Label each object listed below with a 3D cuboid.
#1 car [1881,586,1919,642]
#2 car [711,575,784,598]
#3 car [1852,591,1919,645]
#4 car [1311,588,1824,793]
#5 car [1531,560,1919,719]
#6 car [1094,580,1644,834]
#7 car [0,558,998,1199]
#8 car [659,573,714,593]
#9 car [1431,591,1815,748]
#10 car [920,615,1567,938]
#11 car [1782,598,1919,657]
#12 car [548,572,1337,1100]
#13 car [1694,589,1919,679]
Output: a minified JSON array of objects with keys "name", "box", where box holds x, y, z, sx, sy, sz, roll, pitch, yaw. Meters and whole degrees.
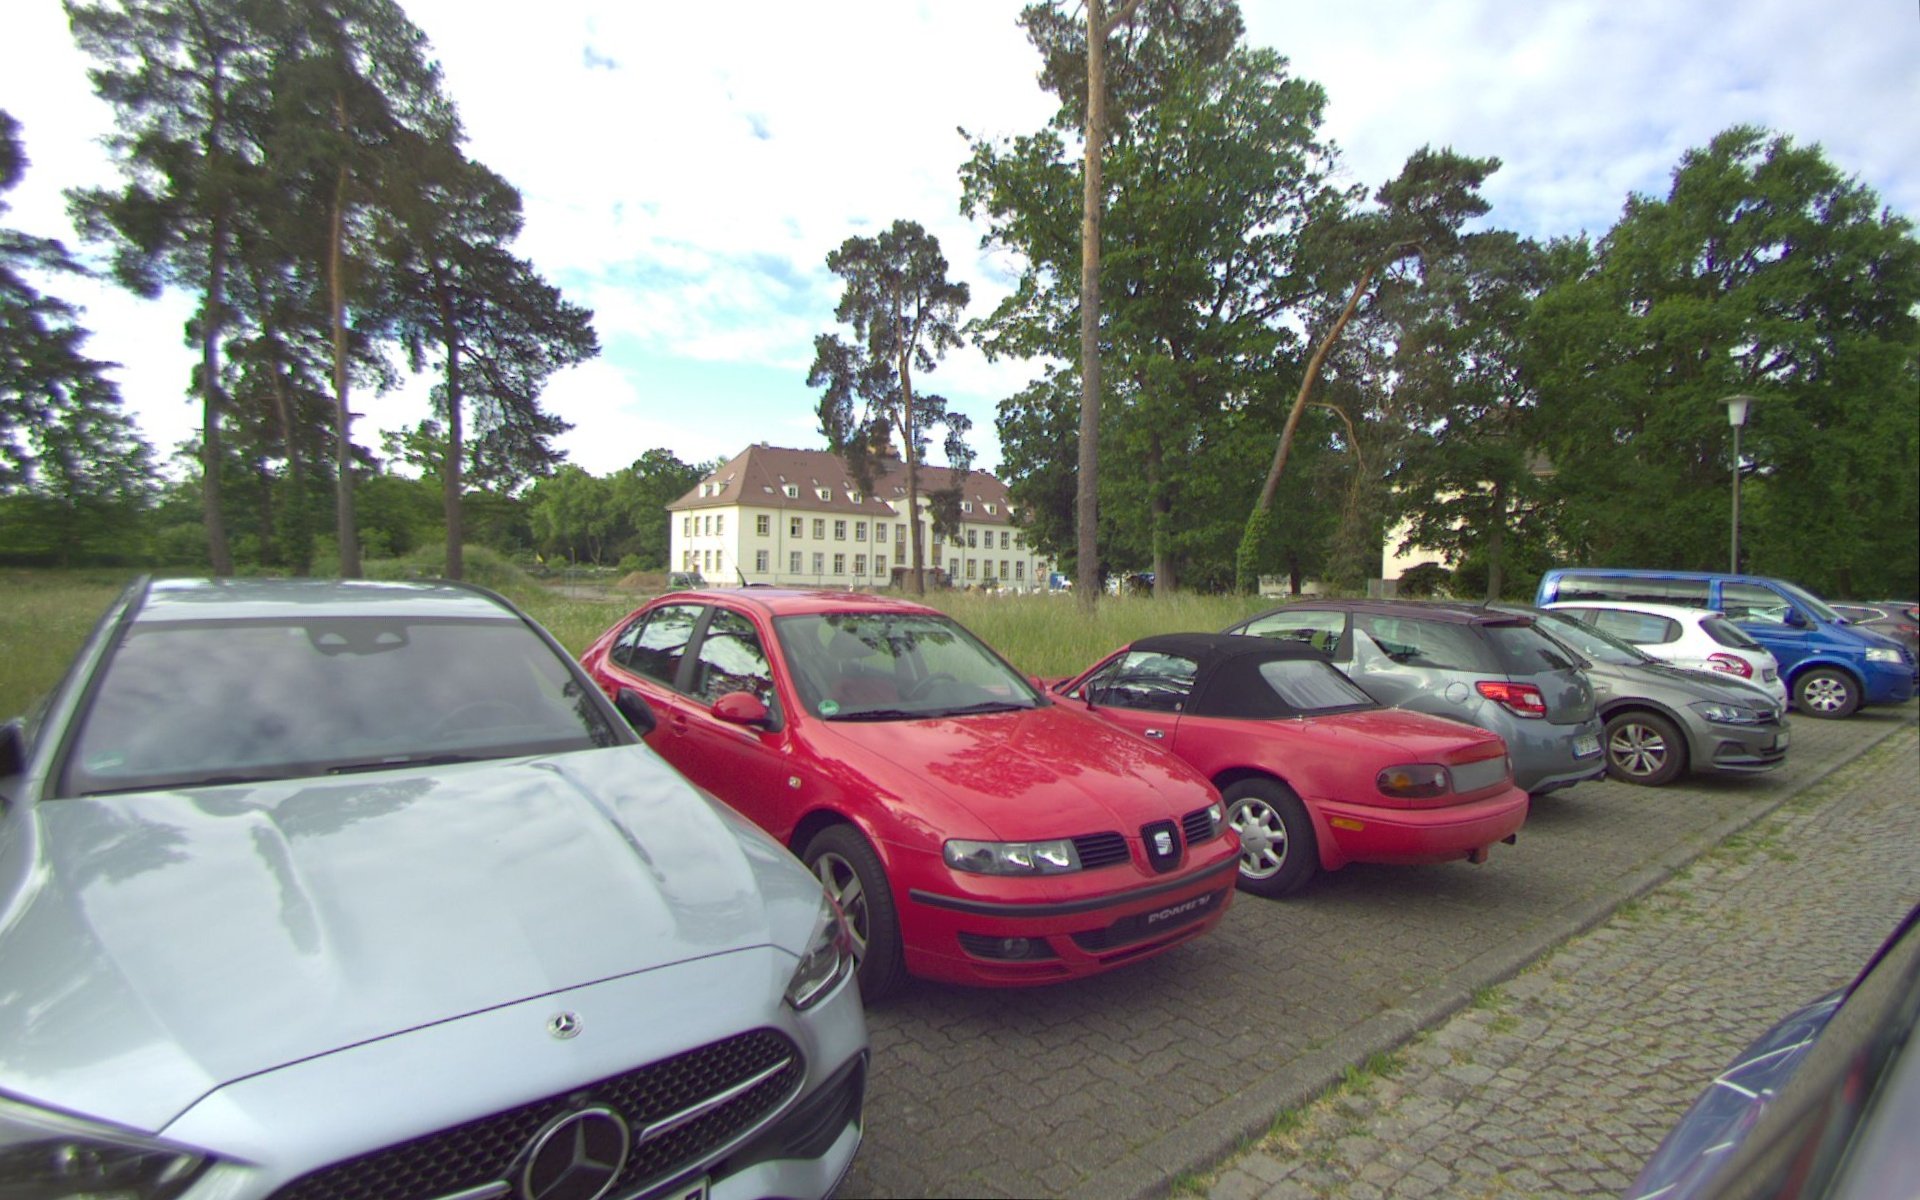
[{"name":"car","box":[36.697,0.549,37.164,1.964,2.039,3.997,1,1,-39]},{"name":"car","box":[-13.661,-0.879,65.144,4.180,1.433,1.887,0,2,-39]},{"name":"car","box":[33.286,0.632,34.507,1.964,1.784,4.007,1,1,-39]},{"name":"car","box":[5.613,0.675,9.762,1.787,1.474,3.850,1,1,-38]},{"name":"car","box":[11.579,0.443,15.264,1.965,1.963,4.747,0,2,-41]},{"name":"car","box":[3.137,0.637,8.298,1.768,1.524,3.782,0,1,-42]},{"name":"car","box":[-2.132,0.631,3.544,1.780,1.501,4.767,0,1,-40]},{"name":"car","box":[-27.556,-1.718,101.781,6.171,1.882,2.304,2,2,41]},{"name":"car","box":[7.554,0.673,11.764,1.608,1.470,3.408,1,1,-39]},{"name":"car","box":[1.435,0.779,6.170,1.468,1.222,3.599,1,1,-39]},{"name":"car","box":[25.553,0.732,28.056,1.965,1.549,3.994,0,0,-40]},{"name":"car","box":[-0.457,0.635,4.980,1.768,1.470,3.970,0,1,-40]},{"name":"car","box":[18.060,0.645,21.199,1.965,1.630,3.995,0,1,-40]}]
